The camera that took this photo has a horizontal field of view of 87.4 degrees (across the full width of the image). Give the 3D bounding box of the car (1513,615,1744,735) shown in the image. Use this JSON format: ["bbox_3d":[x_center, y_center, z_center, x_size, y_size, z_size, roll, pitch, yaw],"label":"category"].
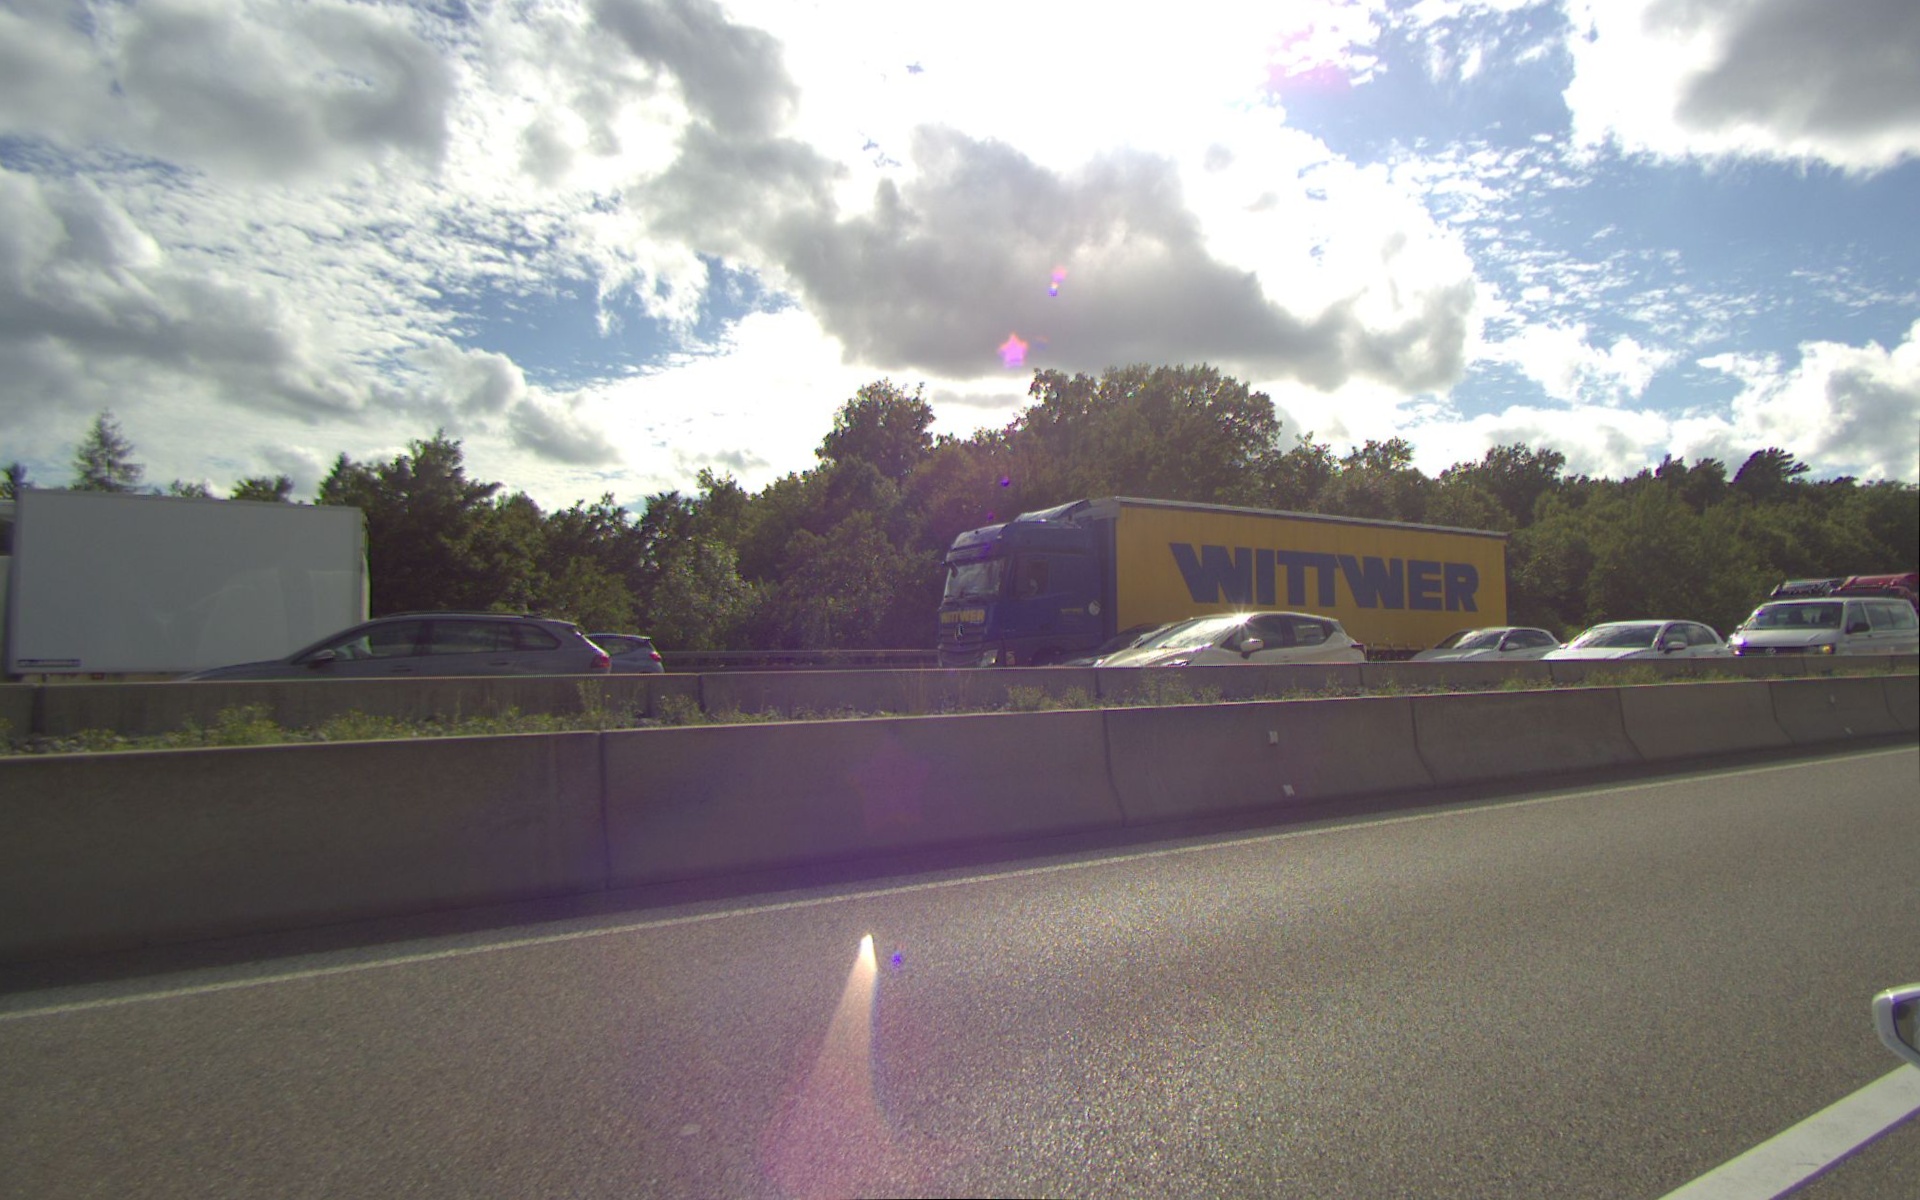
[{"bbox_3d":[11.719,1.275,17.533,4.247,1.840,1.678,3,-1,-31],"label":"car"}]

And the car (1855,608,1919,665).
[{"bbox_3d":[32.203,1.213,33.856,4.561,1.790,1.736,1,0,-31],"label":"car"}]

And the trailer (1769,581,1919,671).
[{"bbox_3d":[46.168,1.265,51.188,13.874,4.175,2.796,1,0,-30],"label":"trailer"}]

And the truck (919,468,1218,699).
[{"bbox_3d":[2.295,-0.188,20.850,5.553,4.203,2.722,3,-1,-31],"label":"truck"}]

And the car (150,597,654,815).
[{"bbox_3d":[-6.102,1.091,11.493,4.604,2.040,1.983,3,-1,-31],"label":"car"}]

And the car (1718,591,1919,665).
[{"bbox_3d":[18.397,0.623,21.288,5.426,1.372,1.840,3,-1,-31],"label":"car"}]

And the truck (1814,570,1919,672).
[{"bbox_3d":[39.026,0.859,42.229,6.774,3.991,2.762,1,0,-31],"label":"truck"}]

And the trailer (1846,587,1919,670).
[{"bbox_3d":[44.968,1.254,45.834,14.057,3.380,2.714,1,0,-31],"label":"trailer"}]

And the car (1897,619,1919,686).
[{"bbox_3d":[25.385,1.322,25.193,3.954,1.625,1.715,1,0,-31],"label":"car"}]

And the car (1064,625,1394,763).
[{"bbox_3d":[3.436,1.080,12.698,3.954,1.396,1.748,1,2,-31],"label":"car"}]

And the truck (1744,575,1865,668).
[{"bbox_3d":[40.227,1.007,47.839,5.390,4.205,2.797,1,0,-31],"label":"truck"}]

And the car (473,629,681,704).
[{"bbox_3d":[-8.700,1.508,22.883,4.159,1.514,1.830,3,-1,-31],"label":"car"}]

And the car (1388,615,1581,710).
[{"bbox_3d":[11.292,1.330,21.555,4.247,1.840,1.678,3,-1,-31],"label":"car"}]

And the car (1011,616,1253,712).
[{"bbox_3d":[2.932,1.059,16.941,3.793,1.419,1.724,3,-1,-31],"label":"car"}]

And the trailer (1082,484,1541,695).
[{"bbox_3d":[9.296,0.062,25.073,13.505,4.290,2.757,3,-1,-31],"label":"trailer"}]

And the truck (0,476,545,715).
[{"bbox_3d":[-10.160,-0.036,13.978,7.856,2.839,2.317,1,1,-30],"label":"truck"}]
